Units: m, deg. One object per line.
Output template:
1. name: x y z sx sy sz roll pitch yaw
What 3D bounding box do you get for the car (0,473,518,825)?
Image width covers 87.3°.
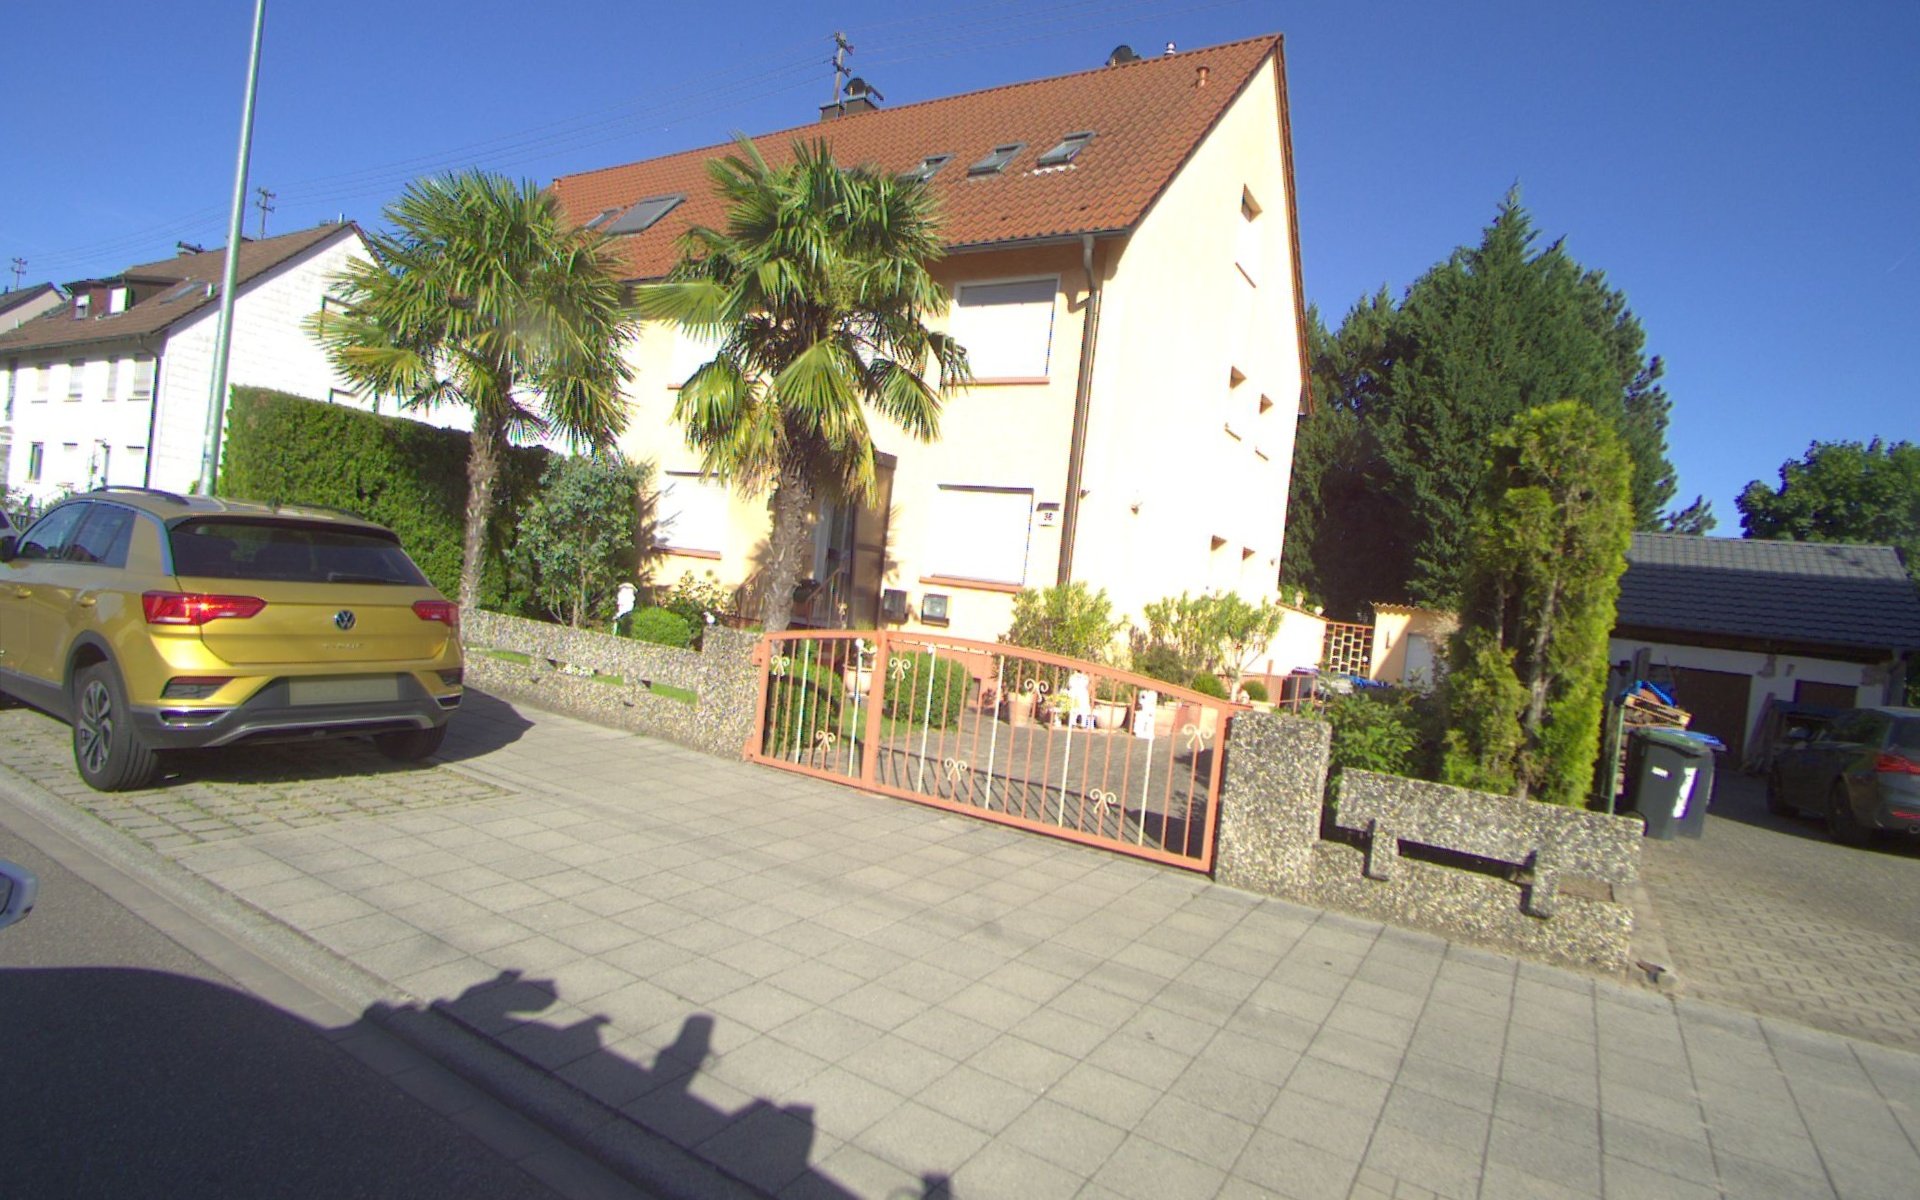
1. car: -5.291 0.079 6.734 4.846 1.579 1.806 6 1 32

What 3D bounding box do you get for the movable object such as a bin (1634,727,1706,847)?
1. movable object such as a bin: 6.201 1.618 8.792 0.399 0.962 0.240 7 0 29

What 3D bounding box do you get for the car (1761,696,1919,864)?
1. car: 10.122 1.875 10.625 1.783 1.438 3.891 7 -1 28

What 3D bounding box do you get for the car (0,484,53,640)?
1. car: -11.420 -0.642 10.438 4.620 1.466 1.749 8 2 32

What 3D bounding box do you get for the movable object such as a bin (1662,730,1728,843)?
1. movable object such as a bin: 6.611 1.668 9.051 0.331 0.936 0.241 7 0 17

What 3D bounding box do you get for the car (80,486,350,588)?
1. car: -16.983 -1.382 23.195 2.159 1.675 4.422 6 -1 30
